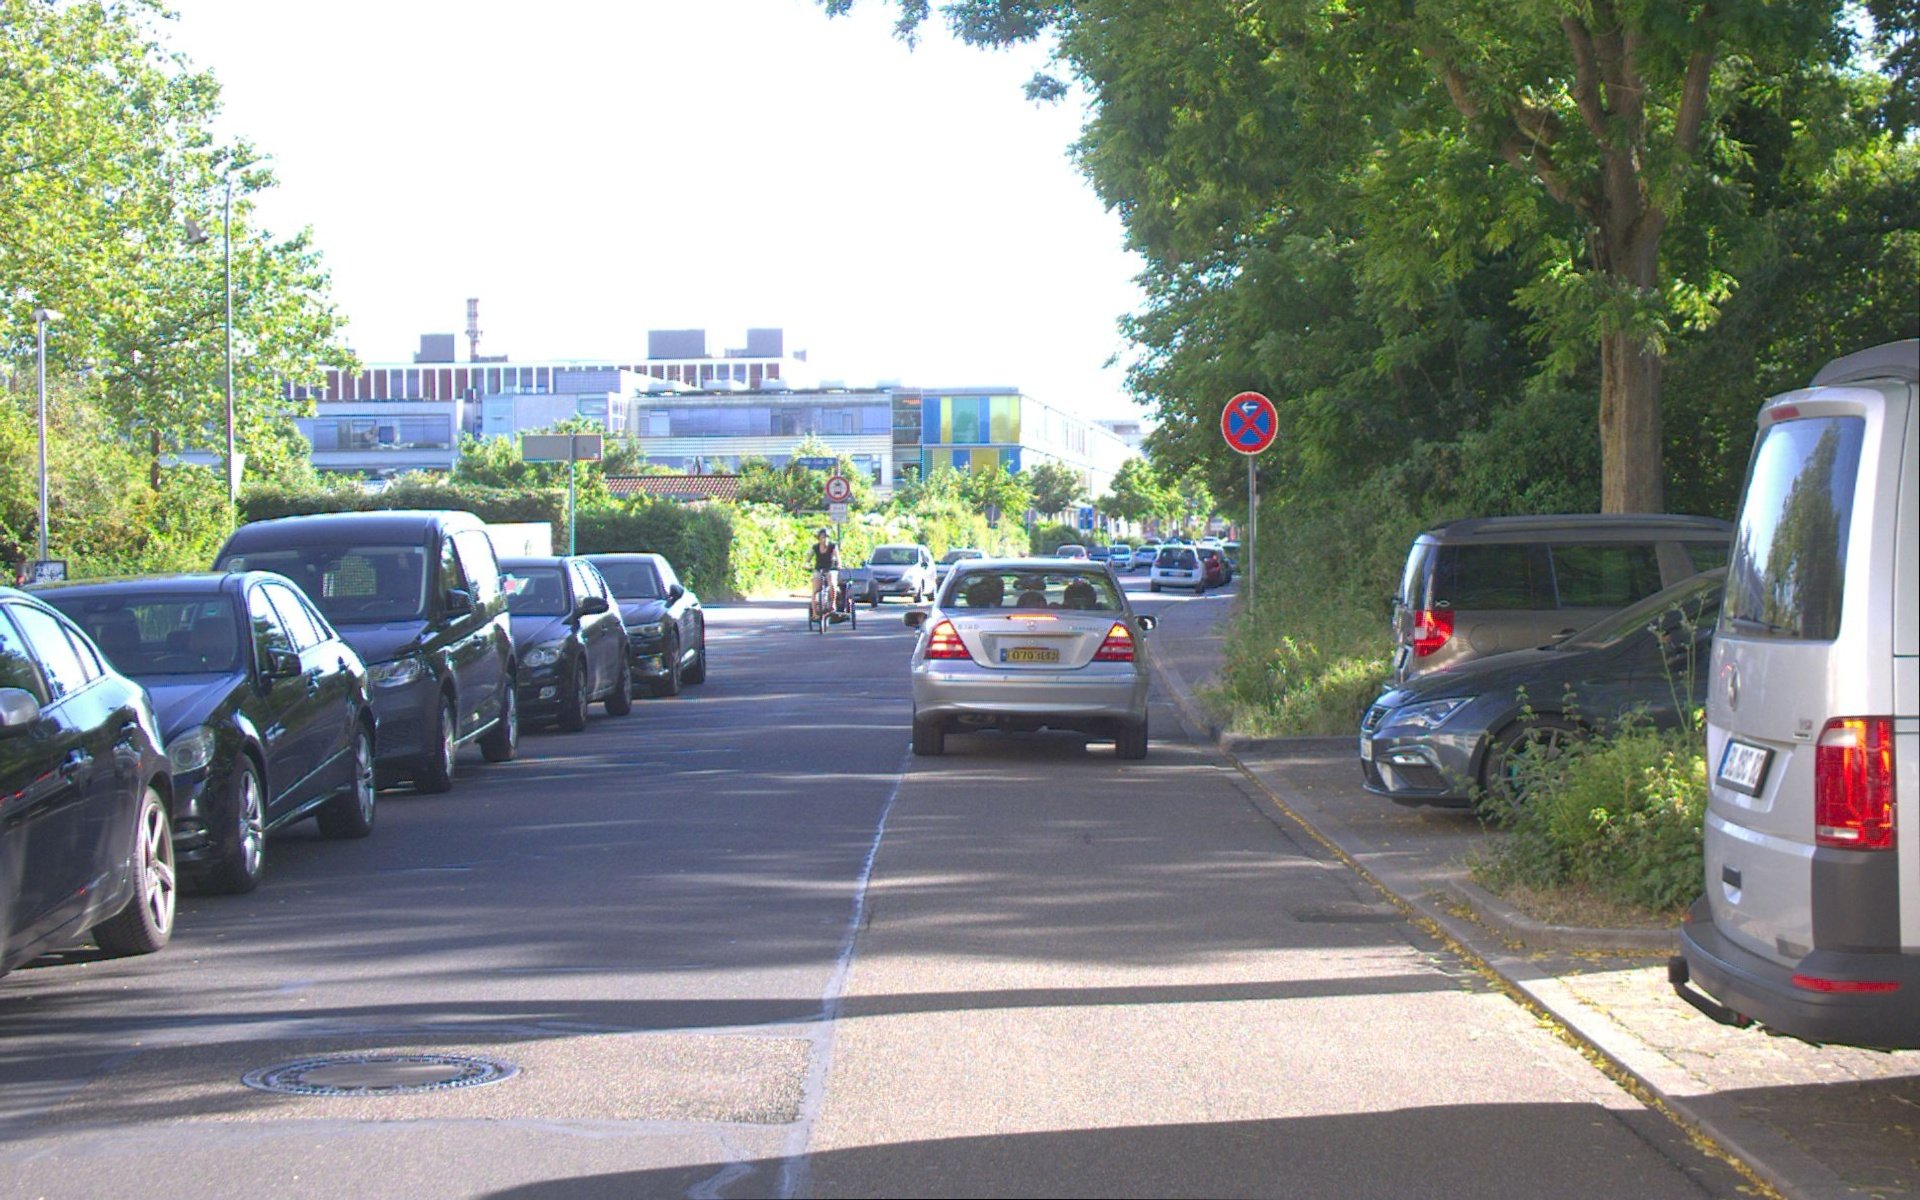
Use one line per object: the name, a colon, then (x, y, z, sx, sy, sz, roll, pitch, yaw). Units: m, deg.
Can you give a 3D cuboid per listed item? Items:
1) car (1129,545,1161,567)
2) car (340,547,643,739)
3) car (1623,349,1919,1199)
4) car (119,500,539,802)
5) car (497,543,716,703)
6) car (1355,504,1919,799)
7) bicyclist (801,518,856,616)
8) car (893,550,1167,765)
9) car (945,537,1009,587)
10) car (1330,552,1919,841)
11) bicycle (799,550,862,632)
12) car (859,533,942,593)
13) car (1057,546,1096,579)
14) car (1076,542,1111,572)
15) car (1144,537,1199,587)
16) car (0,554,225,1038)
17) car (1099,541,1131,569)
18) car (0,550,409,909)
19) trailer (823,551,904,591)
car: (12.049, -2.853, 223.567, 1.855, 1.423, 4.133, 1, 1, 6)
car: (-3.979, 0.316, 29.850, 1.840, 1.449, 4.018, -2, 1, 3)
car: (4.145, 0.343, 8.879, 4.451, 2.009, 2.021, -2, 1, 2)
car: (-4.140, 0.274, 23.383, 1.840, 1.774, 4.888, -2, 1, 1)
car: (-3.644, 0.192, 36.198, 1.727, 1.458, 4.682, -2, 2, 1)
car: (4.638, 0.283, 21.547, 4.149, 1.689, 1.775, -1, 1, 3)
bicyclist: (-2.250, -0.562, 58.896, 0.845, 1.652, 1.064, -1, 1, 2)
car: (0.443, 0.367, 25.548, 1.737, 1.448, 4.001, 0, 1, -3)
car: (0.564, -1.249, 112.560, 1.644, 1.551, 4.417, -1, 1, 6)
car: (4.365, 0.477, 18.844, 4.451, 1.409, 1.775, -2, 1, 0)
bicycle: (-2.221, -0.182, 59.336, 0.851, 1.366, 3.220, -1, 1, 2)
car: (-1.619, -1.027, 94.934, 1.644, 1.594, 4.310, 1, 1, 8)
car: (5.402, -1.759, 159.170, 1.560, 1.489, 3.570, -1, 1, 6)
car: (6.884, -2.231, 177.248, 1.560, 1.489, 3.570, 2, 1, 6)
car: (6.895, -1.246, 111.834, 1.556, 1.533, 3.555, 2, 1, 6)
car: (-3.913, 0.616, 11.711, 1.840, 1.476, 4.801, -2, 1, -1)
car: (8.758, -2.549, 194.184, 1.560, 1.489, 3.758, -1, 1, 6)
car: (-4.064, 0.549, 17.095, 1.840, 1.476, 4.575, -3, 1, 0)
trailer: (-2.358, -0.723, 84.730, 1.544, 0.950, 2.646, 1, 1, 9)
